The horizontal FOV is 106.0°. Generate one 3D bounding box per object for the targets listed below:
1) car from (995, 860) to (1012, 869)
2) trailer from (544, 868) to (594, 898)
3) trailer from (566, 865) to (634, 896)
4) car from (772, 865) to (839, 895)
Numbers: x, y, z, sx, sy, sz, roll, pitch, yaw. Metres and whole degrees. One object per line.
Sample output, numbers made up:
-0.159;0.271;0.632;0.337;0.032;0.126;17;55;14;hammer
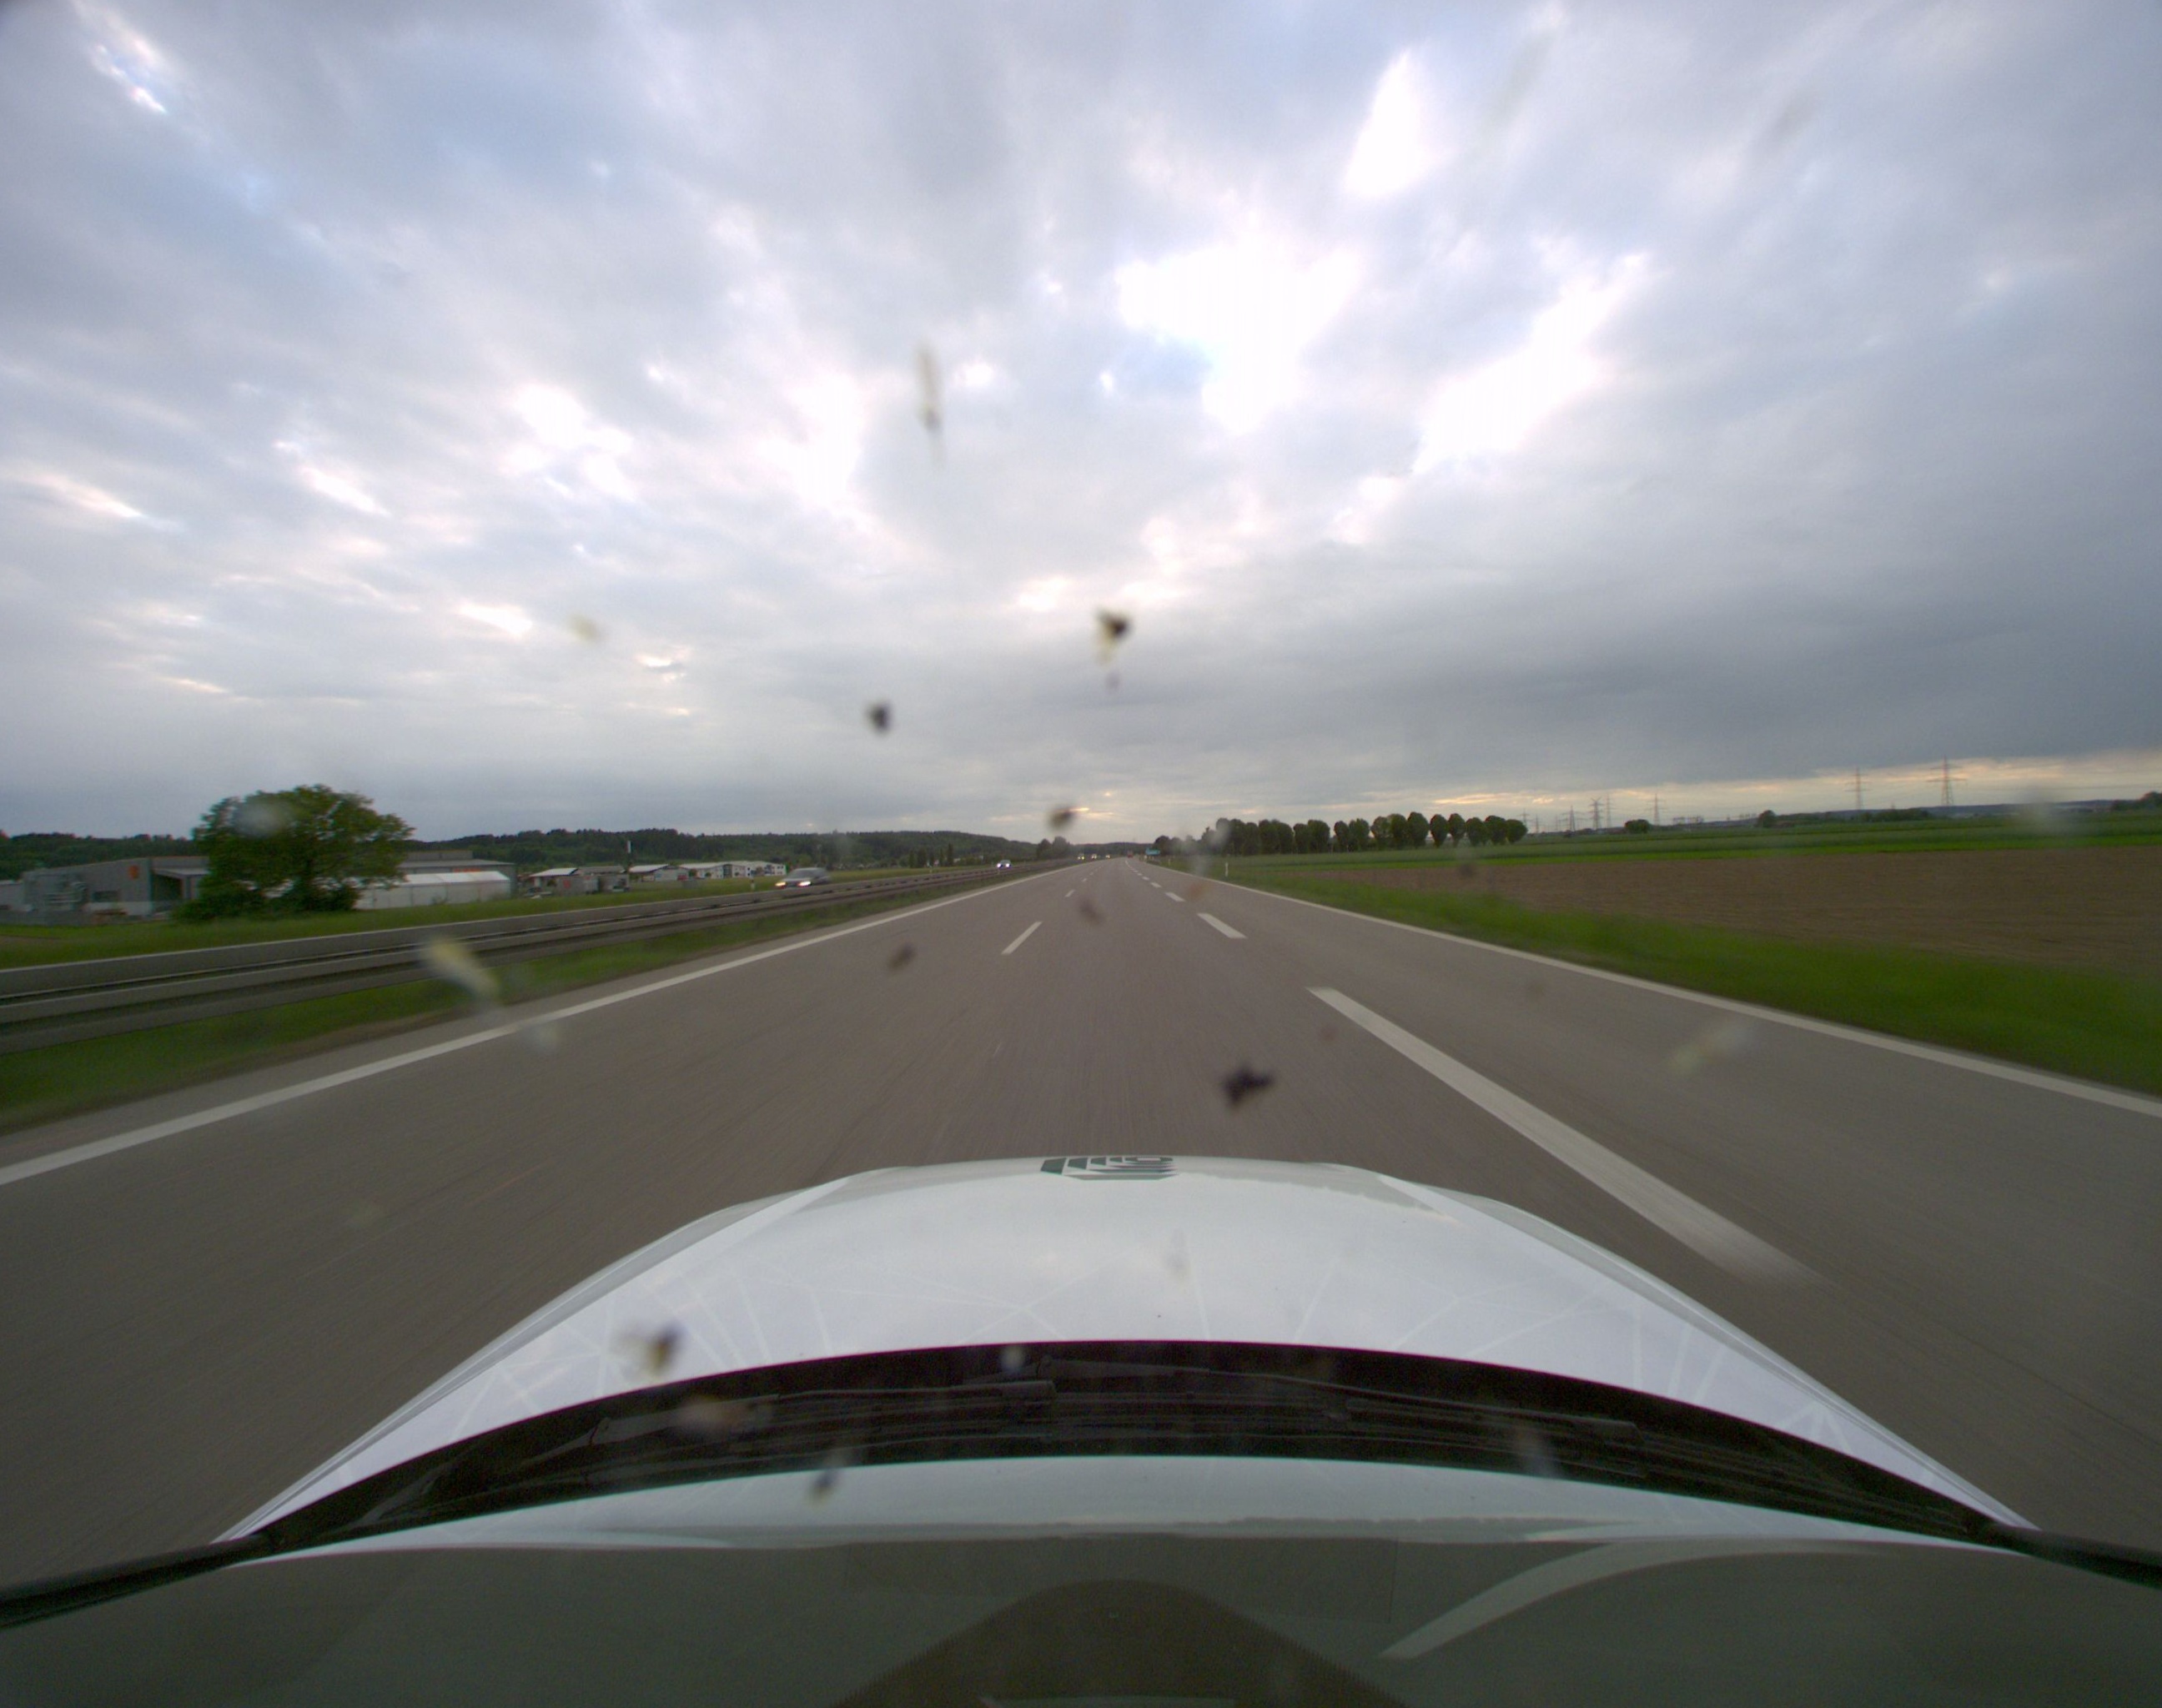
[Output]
-11.942;1.588;125.299;1.986;1.416;4.526;-1;0;2;car
-97.004;5.471;154.236;9.951;5.261;3.778;-4;-2;31;trailer
-92.878;5.216;156.985;16.814;5.135;3.592;-4;-2;31;trailer
-14.996;1.392;44.535;1.986;1.480;4.453;-1;0;2;car
